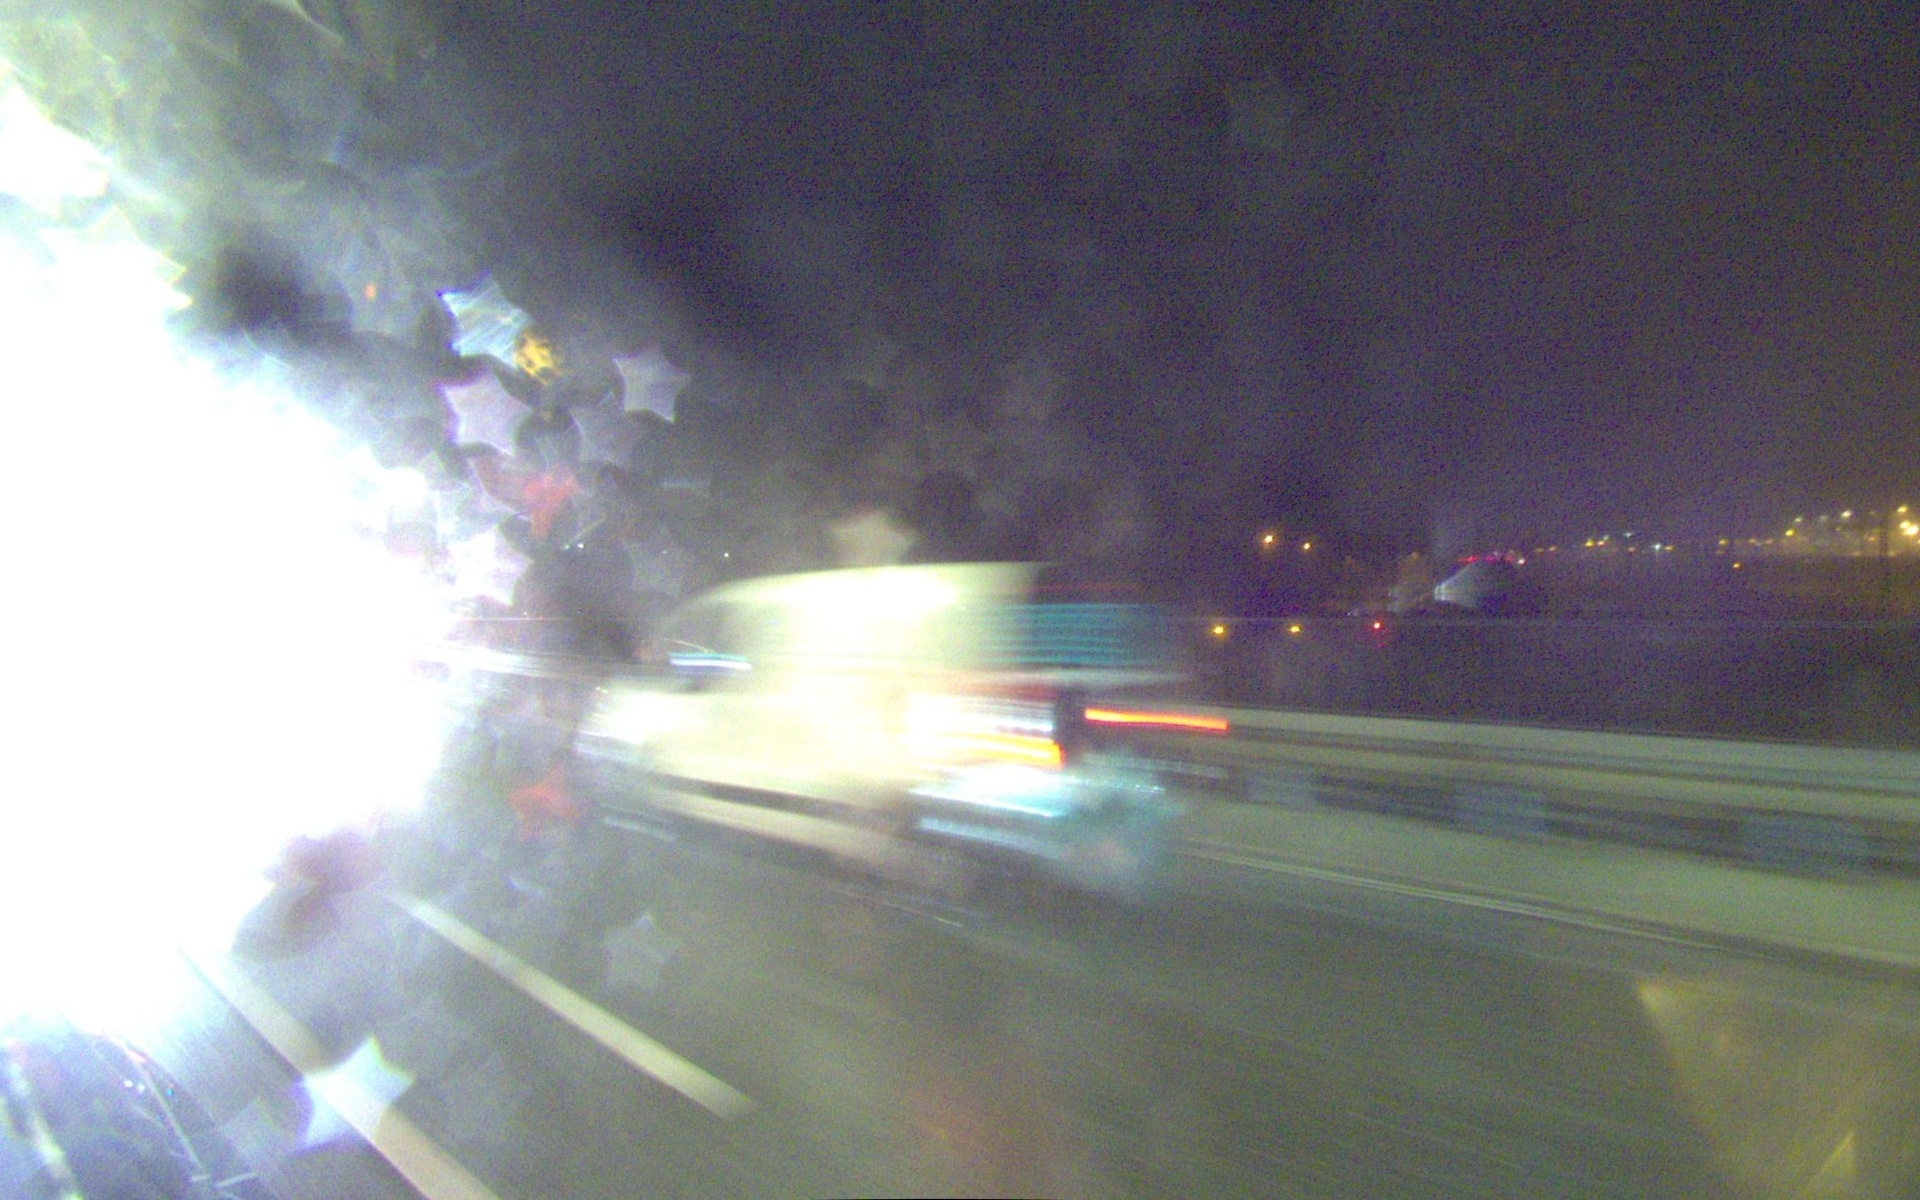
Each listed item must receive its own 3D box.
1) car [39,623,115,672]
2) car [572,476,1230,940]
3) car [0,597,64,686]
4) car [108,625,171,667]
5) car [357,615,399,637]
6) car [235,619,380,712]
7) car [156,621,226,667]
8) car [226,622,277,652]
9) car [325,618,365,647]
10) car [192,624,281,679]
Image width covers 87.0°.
[{"bbox_3d":[-30.105,1.597,34.584,1.498,1.537,3.115,-1,-1,-32],"label":"car"},{"bbox_3d":[-0.603,0.503,6.132,4.001,1.875,1.734,-2,-3,44],"label":"car"},{"bbox_3d":[-23.406,0.979,24.625,1.967,2.029,4.010,0,-1,-36],"label":"car"},{"bbox_3d":[-34.535,1.928,42.652,1.284,1.539,3.055,-10,2,-28],"label":"car"},{"bbox_3d":[-46.638,2.096,81.186,1.971,1.687,4.631,-1,-2,-17],"label":"car"},{"bbox_3d":[-11.486,1.071,17.702,1.791,1.415,4.056,1,-2,-38],"label":"car"},{"bbox_3d":[-43.121,2.413,56.874,1.966,2.027,4.014,-7,5,-22],"label":"car"},{"bbox_3d":[-36.916,1.904,52.811,1.869,1.450,4.075,0,-1,-30],"label":"car"},{"bbox_3d":[-34.422,1.819,56.680,1.450,1.597,3.201,-1,-2,-22],"label":"car"},{"bbox_3d":[-21.774,1.492,30.382,1.662,1.401,4.457,-2,1,-42],"label":"car"}]
